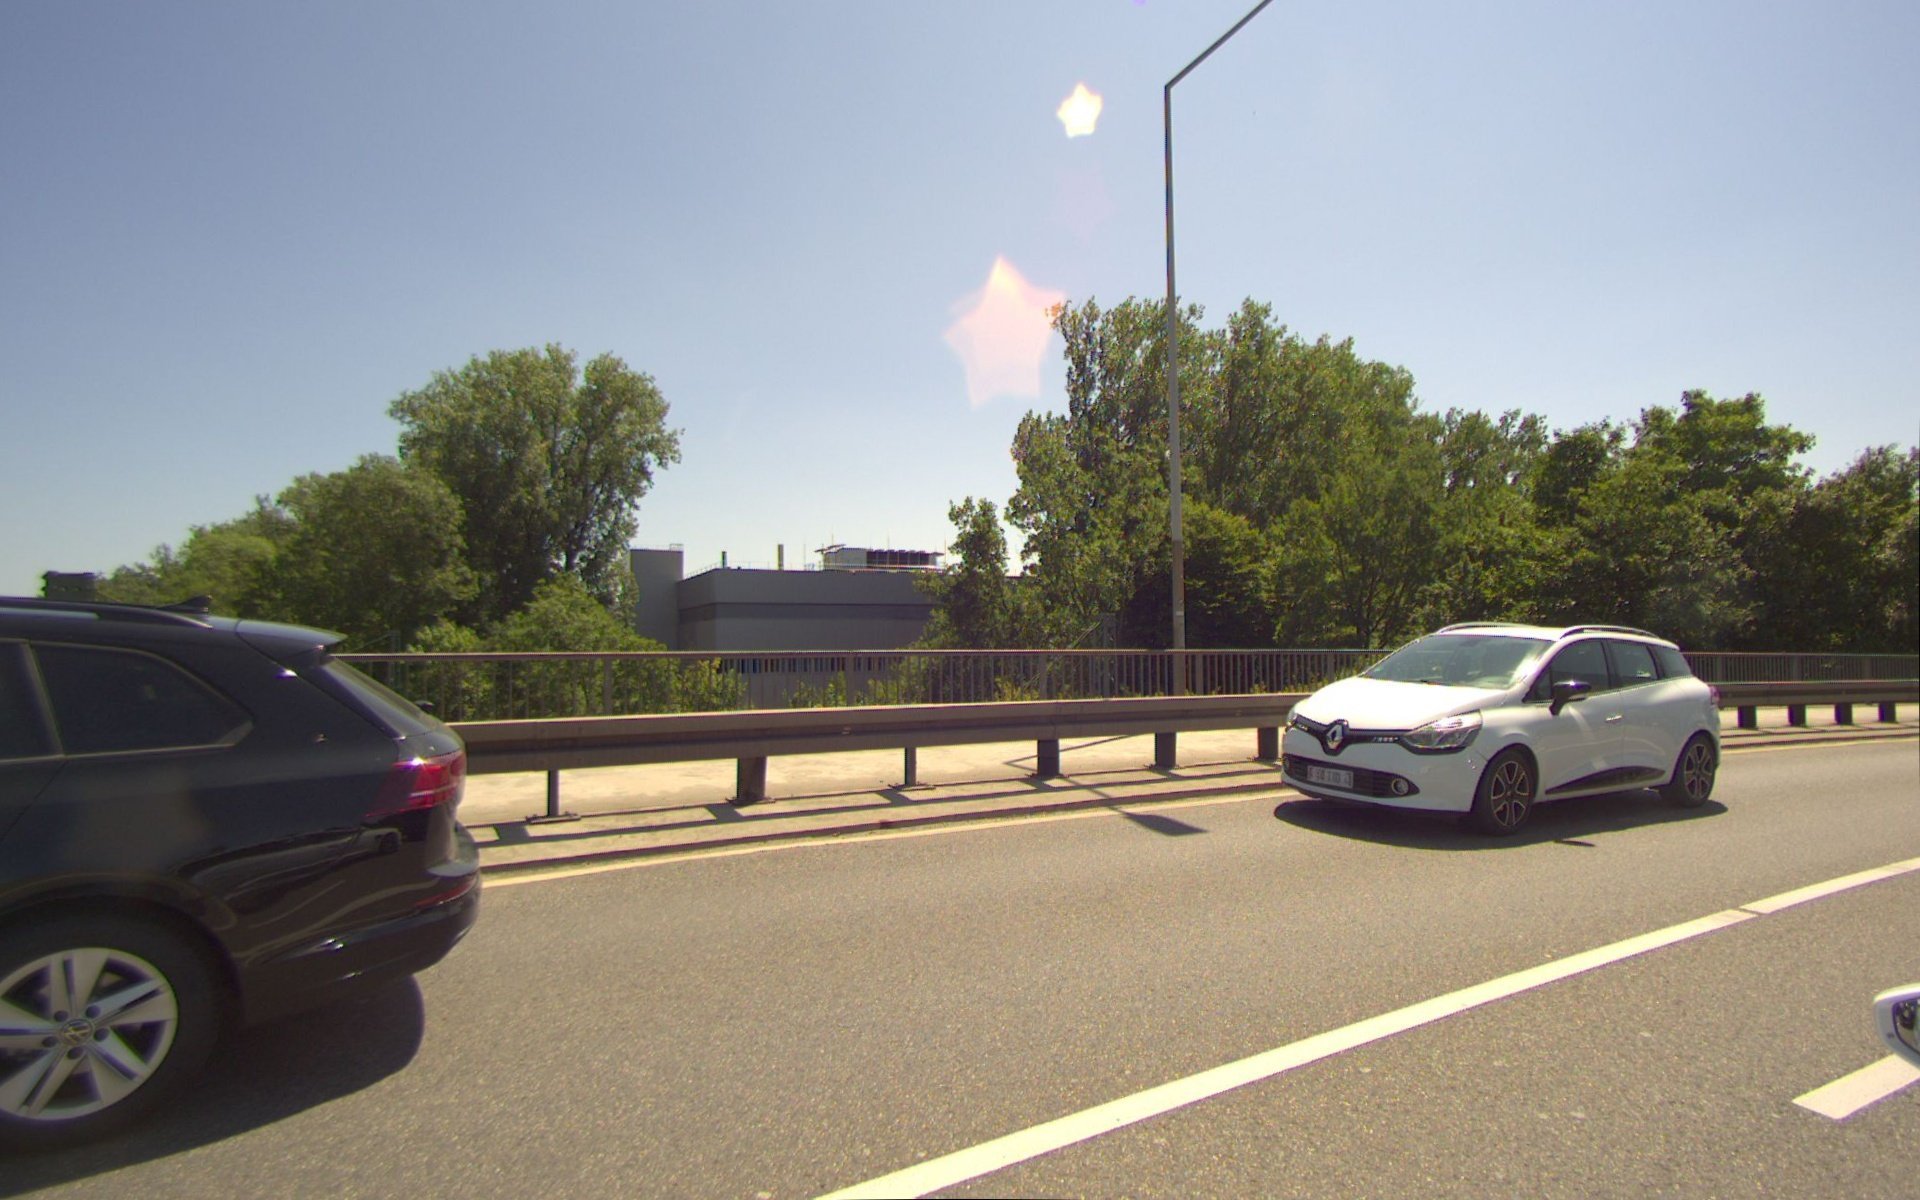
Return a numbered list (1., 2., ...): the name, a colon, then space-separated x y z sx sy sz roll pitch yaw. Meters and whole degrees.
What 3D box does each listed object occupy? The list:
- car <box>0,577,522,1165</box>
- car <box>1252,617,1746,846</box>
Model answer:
1. car: -3.710 0.670 2.716 4.413 1.488 1.700 2 -1 -34
2. car: 4.439 0.908 8.155 4.005 1.468 1.593 2 -1 -28
